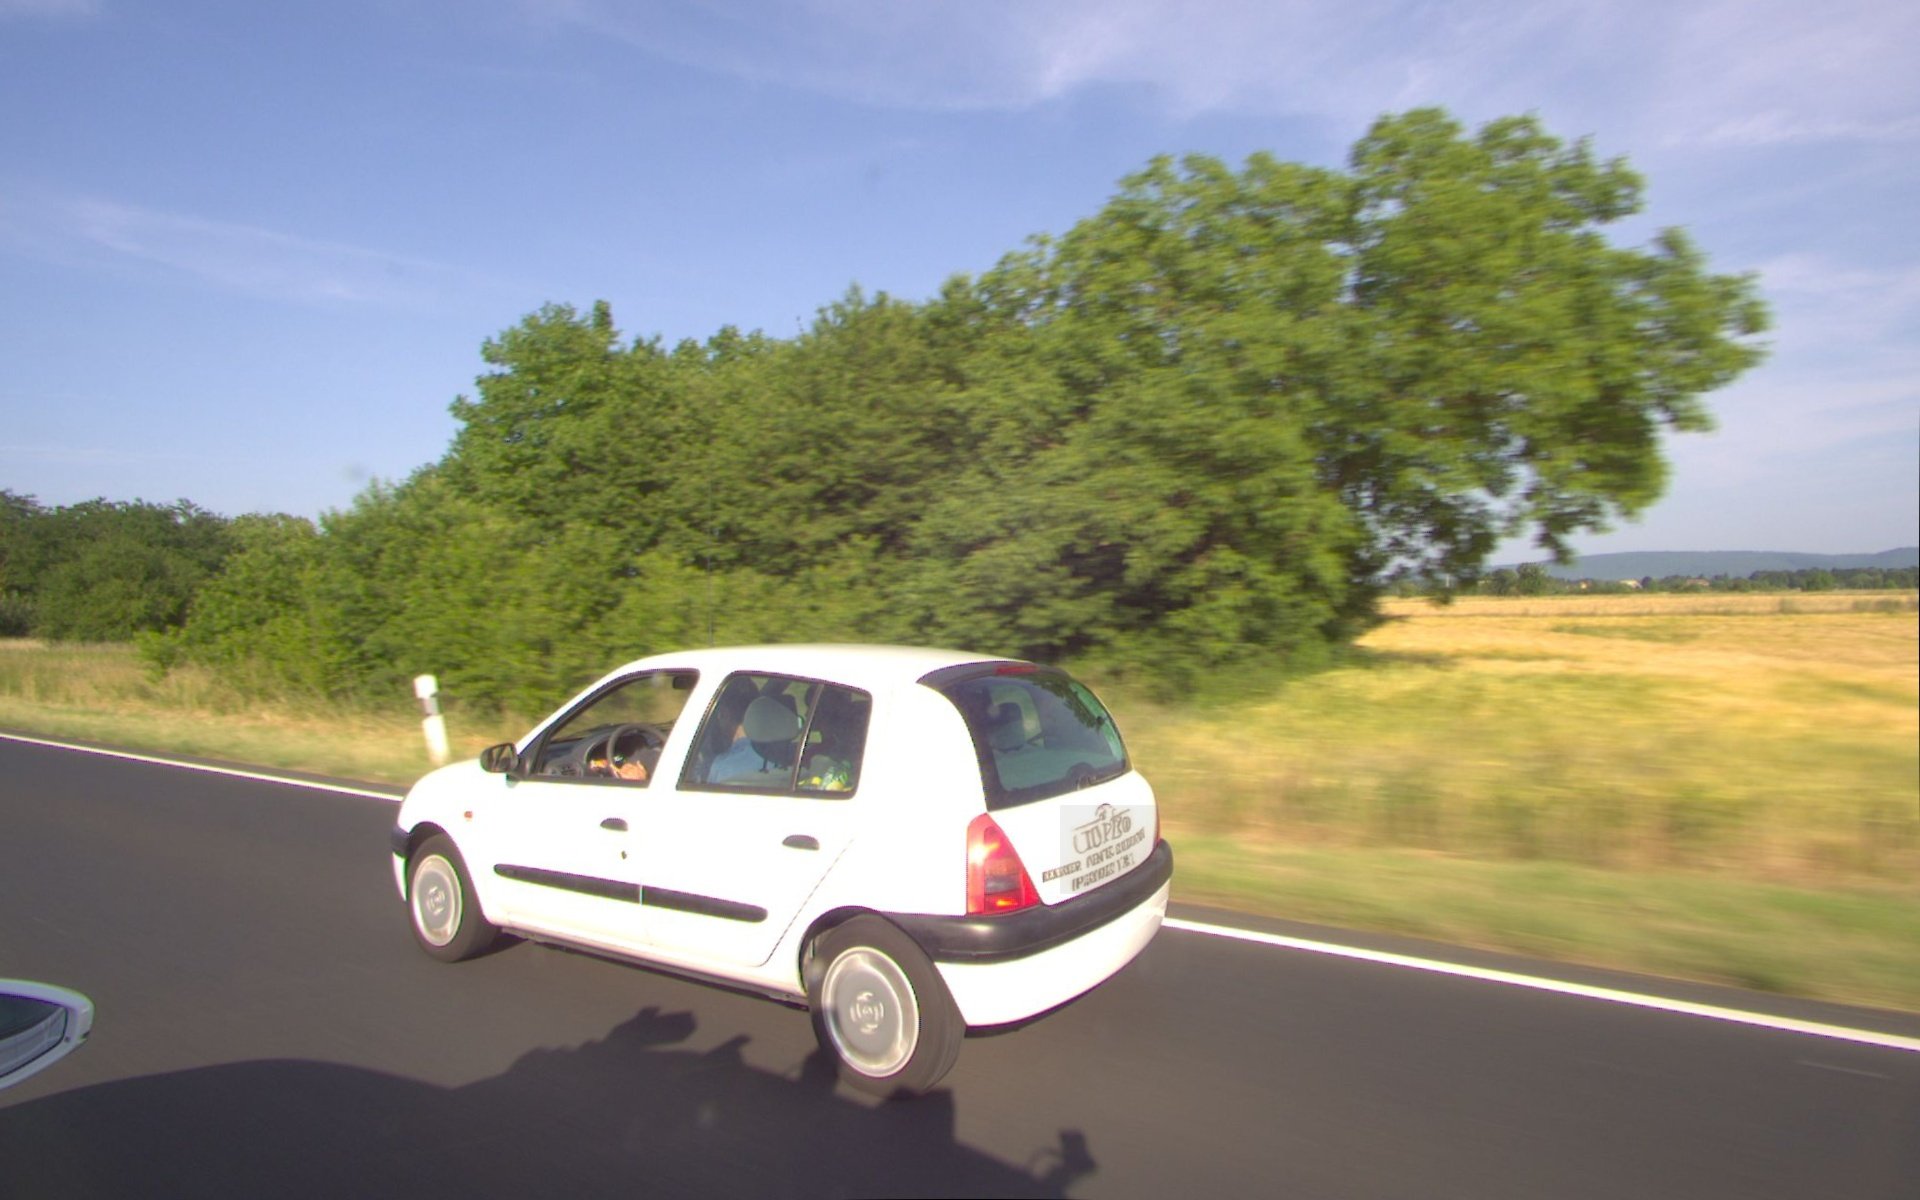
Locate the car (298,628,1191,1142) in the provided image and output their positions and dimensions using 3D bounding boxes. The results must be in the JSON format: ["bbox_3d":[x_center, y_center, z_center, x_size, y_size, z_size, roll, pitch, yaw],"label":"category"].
[{"bbox_3d":[-1.120,0.852,4.488,3.895,1.405,1.614,-2,-1,32],"label":"car"}]
